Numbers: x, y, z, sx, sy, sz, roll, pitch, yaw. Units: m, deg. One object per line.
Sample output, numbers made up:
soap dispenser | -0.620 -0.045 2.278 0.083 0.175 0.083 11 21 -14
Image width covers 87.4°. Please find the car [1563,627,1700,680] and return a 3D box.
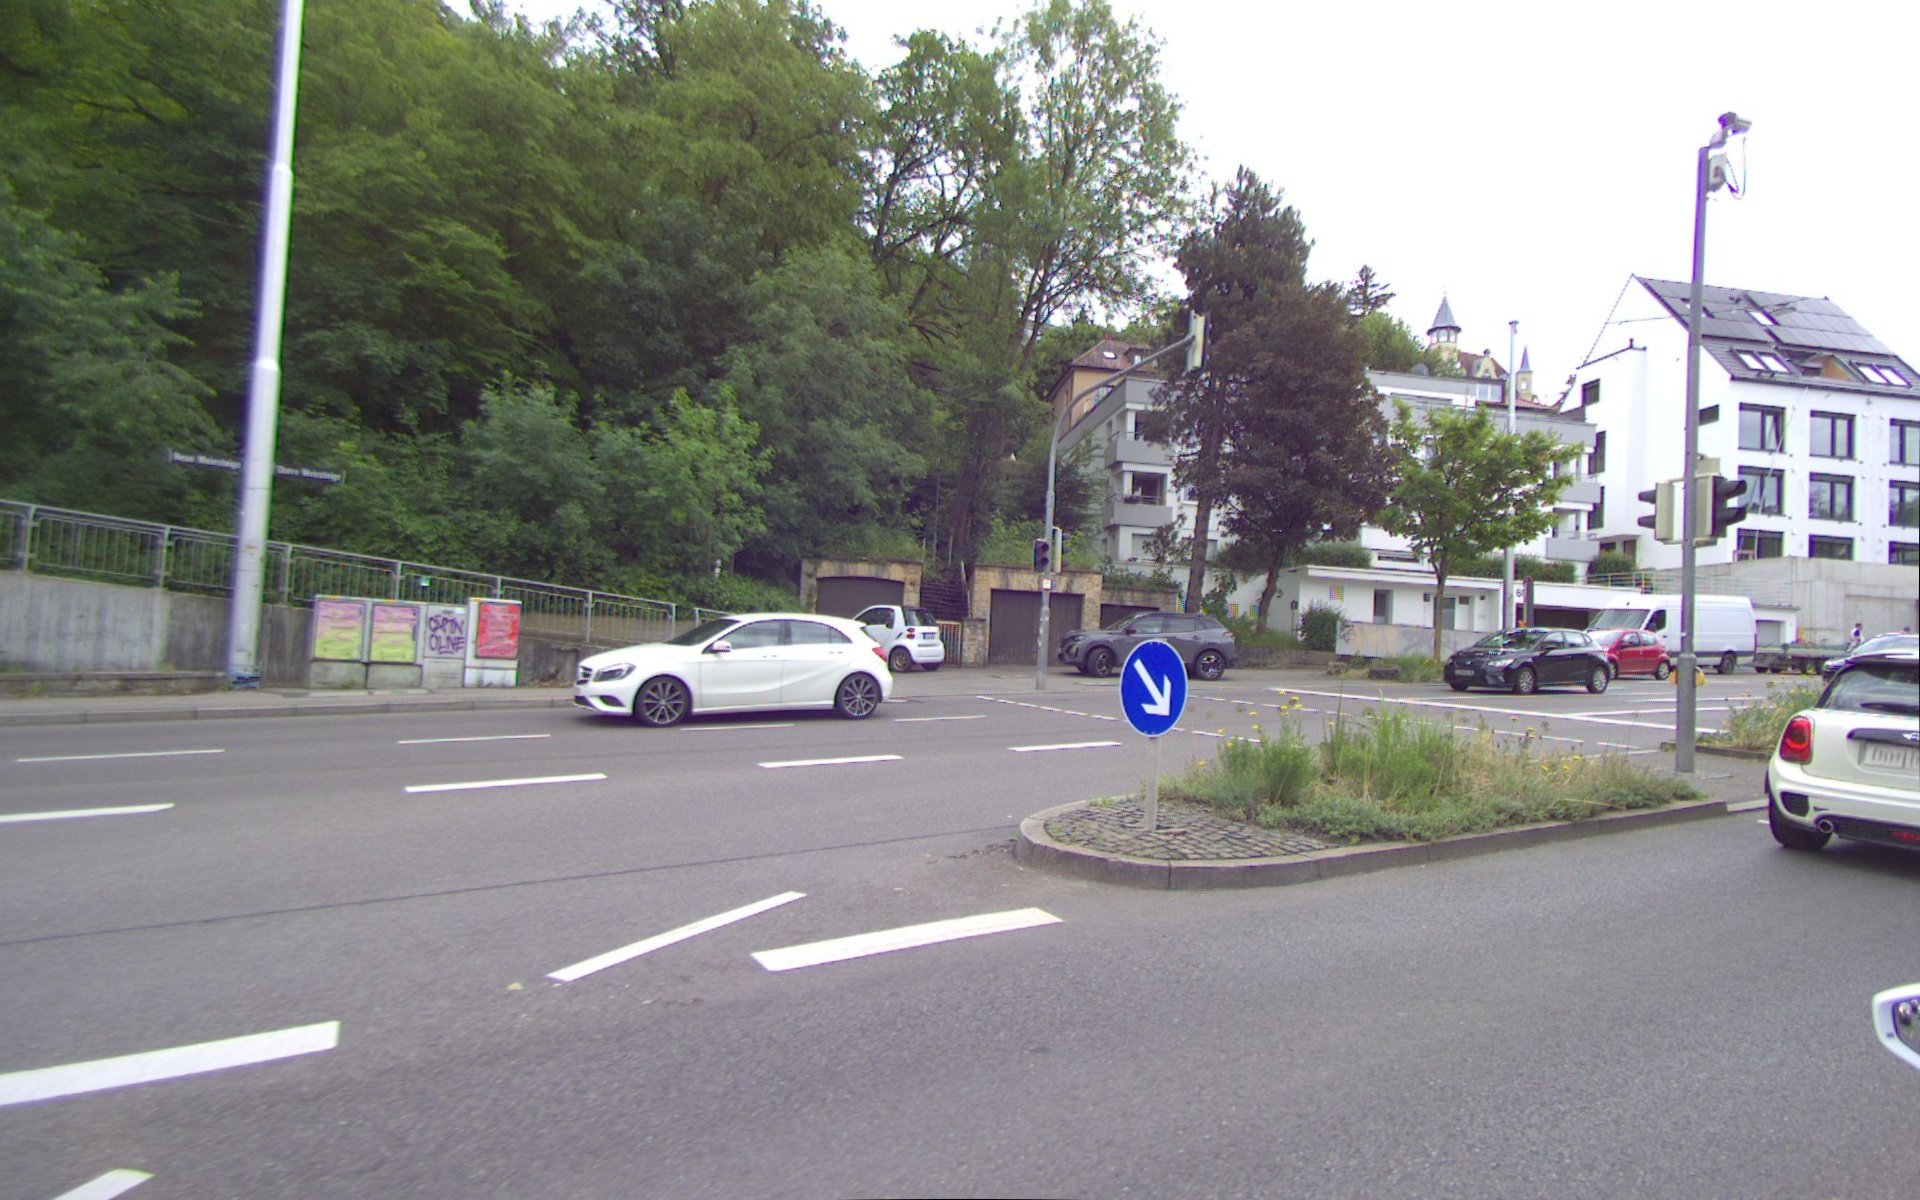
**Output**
car | 19.900 1.558 29.738 3.873 1.485 1.617 1 -2 -25

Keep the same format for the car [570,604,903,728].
car | -2.975 0.836 13.642 4.096 1.412 1.642 2 1 -31

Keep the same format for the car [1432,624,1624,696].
car | 12.533 1.310 22.178 3.799 1.412 1.623 2 1 -21

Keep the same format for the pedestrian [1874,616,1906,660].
pedestrian | 35.554 1.449 38.414 0.663 1.662 0.672 2 1 21

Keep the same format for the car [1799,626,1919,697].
car | 22.035 1.426 23.600 4.489 1.521 1.688 2 -1 -23

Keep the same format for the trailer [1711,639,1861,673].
trailer | 29.800 1.996 36.246 4.553 1.126 2.243 1 -2 -21

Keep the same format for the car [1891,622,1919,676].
car | 37.790 1.856 37.587 5.132 1.993 1.983 1 -1 -16

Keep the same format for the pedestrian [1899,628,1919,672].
pedestrian | 37.497 1.962 39.442 0.663 1.662 0.672 2 1 21

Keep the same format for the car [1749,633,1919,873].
car | 7.165 0.942 6.861 3.524 1.411 1.620 1 -2 -30

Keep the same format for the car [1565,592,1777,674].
car | 24.237 1.127 34.203 7.311 2.602 2.228 1 -1 -21

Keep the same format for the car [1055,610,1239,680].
car | 4.362 1.060 23.806 4.052 1.560 1.599 1 -1 -1

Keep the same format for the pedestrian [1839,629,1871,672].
pedestrian | 35.013 1.977 39.284 0.660 1.662 0.626 1 1 -12

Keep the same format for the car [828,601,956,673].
car | -1.658 0.871 24.515 2.663 1.540 1.561 3 0 31

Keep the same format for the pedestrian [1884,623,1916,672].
pedestrian | 36.497 1.828 39.019 0.663 1.865 0.672 2 1 21
